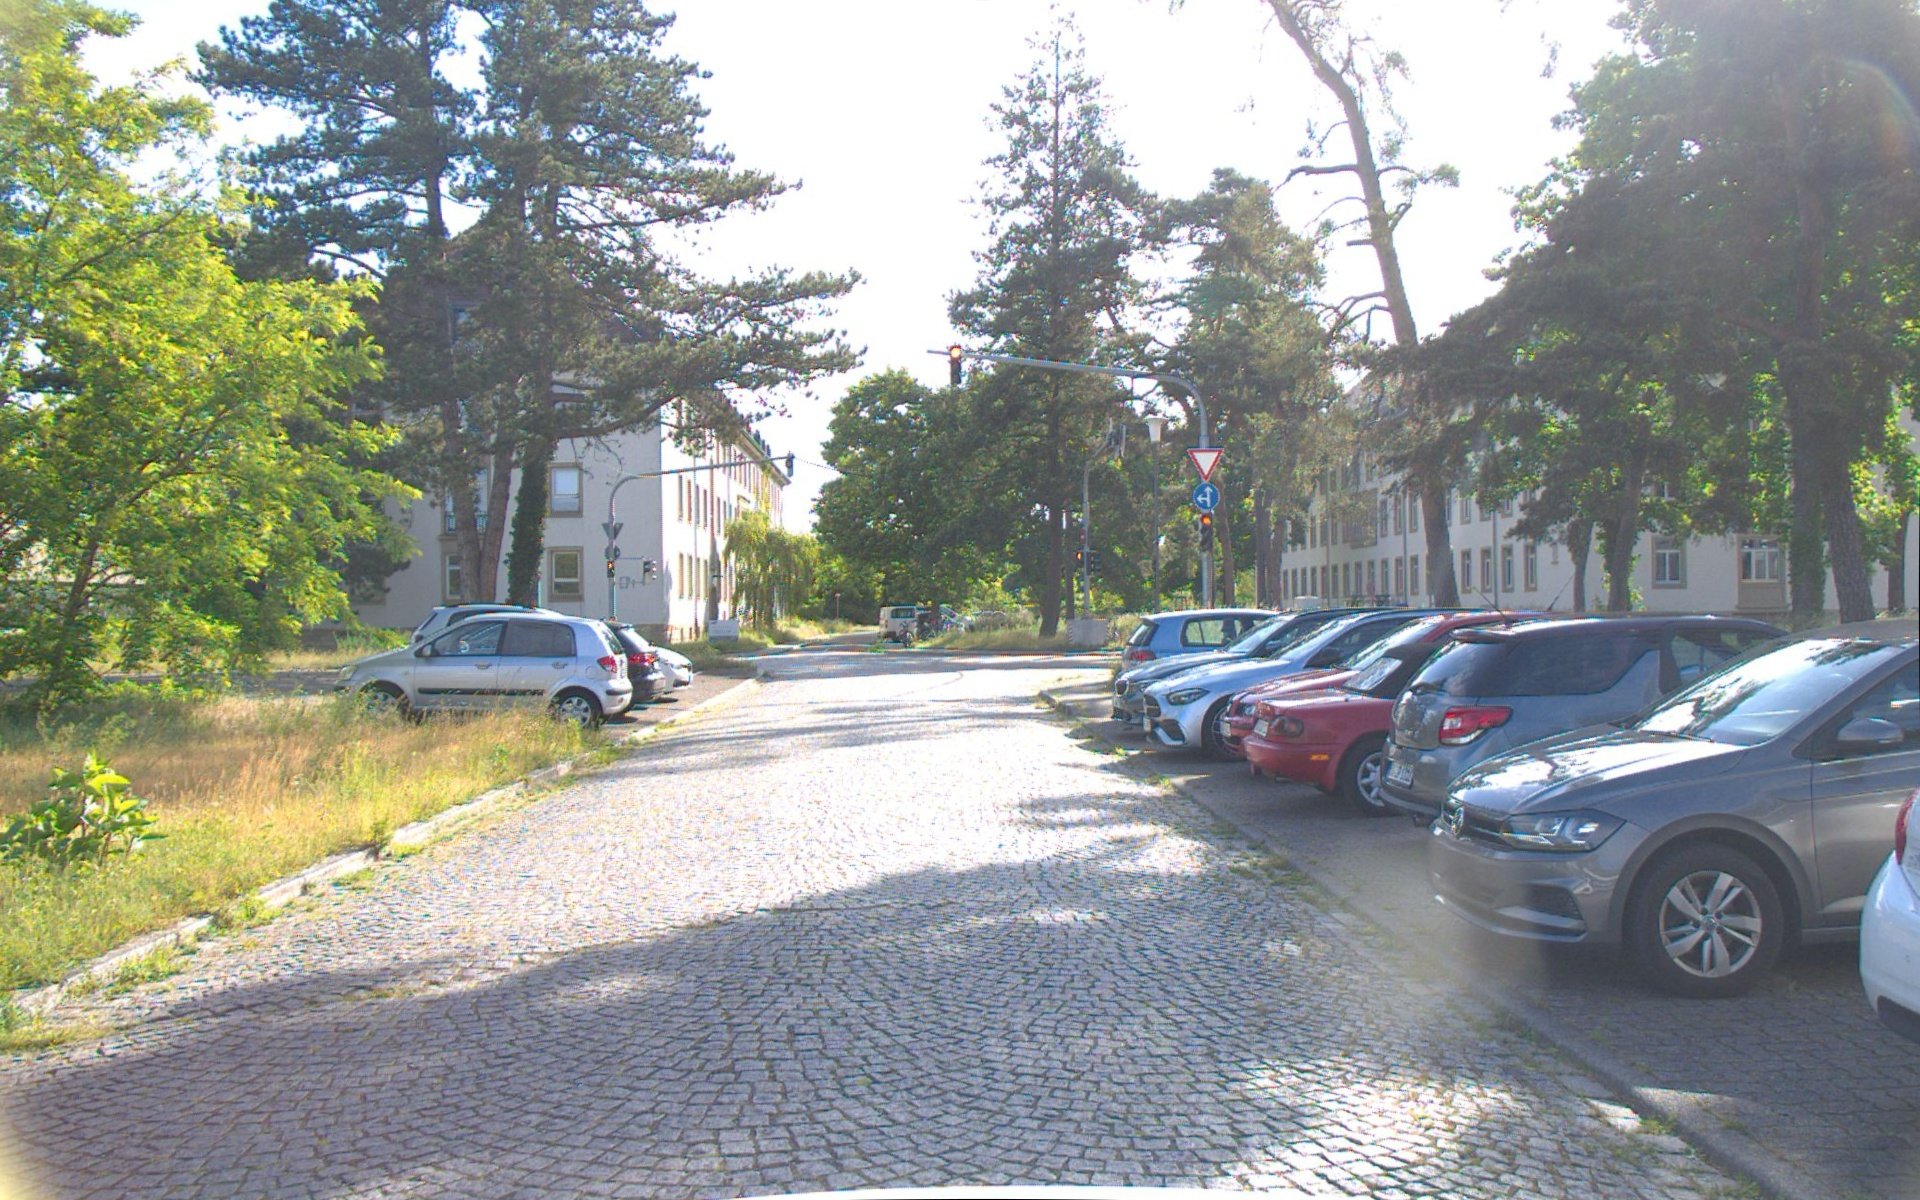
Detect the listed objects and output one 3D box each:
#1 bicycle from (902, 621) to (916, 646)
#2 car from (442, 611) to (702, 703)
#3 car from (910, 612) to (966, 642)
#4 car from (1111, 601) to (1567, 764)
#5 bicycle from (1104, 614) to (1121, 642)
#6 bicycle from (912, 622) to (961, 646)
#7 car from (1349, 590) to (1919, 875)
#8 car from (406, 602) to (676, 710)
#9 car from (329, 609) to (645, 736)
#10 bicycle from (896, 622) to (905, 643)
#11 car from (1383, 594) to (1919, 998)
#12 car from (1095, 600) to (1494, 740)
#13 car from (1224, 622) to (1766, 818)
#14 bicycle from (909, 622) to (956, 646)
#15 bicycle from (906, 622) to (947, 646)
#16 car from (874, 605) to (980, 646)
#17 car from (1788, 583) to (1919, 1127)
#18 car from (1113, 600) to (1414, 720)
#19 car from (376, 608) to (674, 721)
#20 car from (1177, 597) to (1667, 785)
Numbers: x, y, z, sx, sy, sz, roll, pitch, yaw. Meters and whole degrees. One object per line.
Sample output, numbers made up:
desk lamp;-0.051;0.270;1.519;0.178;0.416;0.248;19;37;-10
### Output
bicycle;-2.083;1.383;68.022;0.458;1.028;1.584;1;-1;-5
car;-6.841;0.992;29.514;4.249;1.494;1.829;1;0;-5
car;-1.147;1.397;86.091;2.728;1.492;1.669;1;-1;-6
car;3.877;0.817;17.414;4.342;1.440;1.780;-2;0;-2
bicycle;5.509;1.021;59.748;0.295;0.977;1.584;1;-1;-5
bicycle;-1.026;1.476;71.741;2.070;1.028;0.619;1;-1;-10
car;4.498;0.745;10.350;3.633;1.474;1.816;-2;0;-2
car;-6.795;0.891;27.179;4.000;1.621;1.883;1;0;-5
car;-6.087;0.921;21.616;3.673;1.513;1.644;1;0;-5
bicycle;-2.927;1.579;81.204;0.409;1.028;1.483;1;-1;-1
car;3.993;0.747;7.463;3.632;1.474;1.856;-2;0;-1
car;3.983;0.812;20.134;4.467;1.440;1.636;-2;0;-2
car;4.049;0.882;12.935;3.632;1.244;1.746;-2;0;-1
bicycle;-1.225;1.502;73.321;1.968;1.028;0.630;1;-1;-10
bicycle;-1.528;1.529;75.066;1.804;1.028;0.634;1;-1;-10
car;-1.785;1.388;89.572;5.440;2.049;1.988;2;-1;-20
car;4.559;0.666;4.561;3.632;1.561;1.760;-2;0;-1
car;4.137;0.799;22.919;3.804;1.440;1.636;-2;0;-2
car;-6.278;0.924;24.235;3.909;1.506;1.801;1;0;-5
car;4.171;0.792;15.341;4.044;1.474;1.636;-2;0;-2
